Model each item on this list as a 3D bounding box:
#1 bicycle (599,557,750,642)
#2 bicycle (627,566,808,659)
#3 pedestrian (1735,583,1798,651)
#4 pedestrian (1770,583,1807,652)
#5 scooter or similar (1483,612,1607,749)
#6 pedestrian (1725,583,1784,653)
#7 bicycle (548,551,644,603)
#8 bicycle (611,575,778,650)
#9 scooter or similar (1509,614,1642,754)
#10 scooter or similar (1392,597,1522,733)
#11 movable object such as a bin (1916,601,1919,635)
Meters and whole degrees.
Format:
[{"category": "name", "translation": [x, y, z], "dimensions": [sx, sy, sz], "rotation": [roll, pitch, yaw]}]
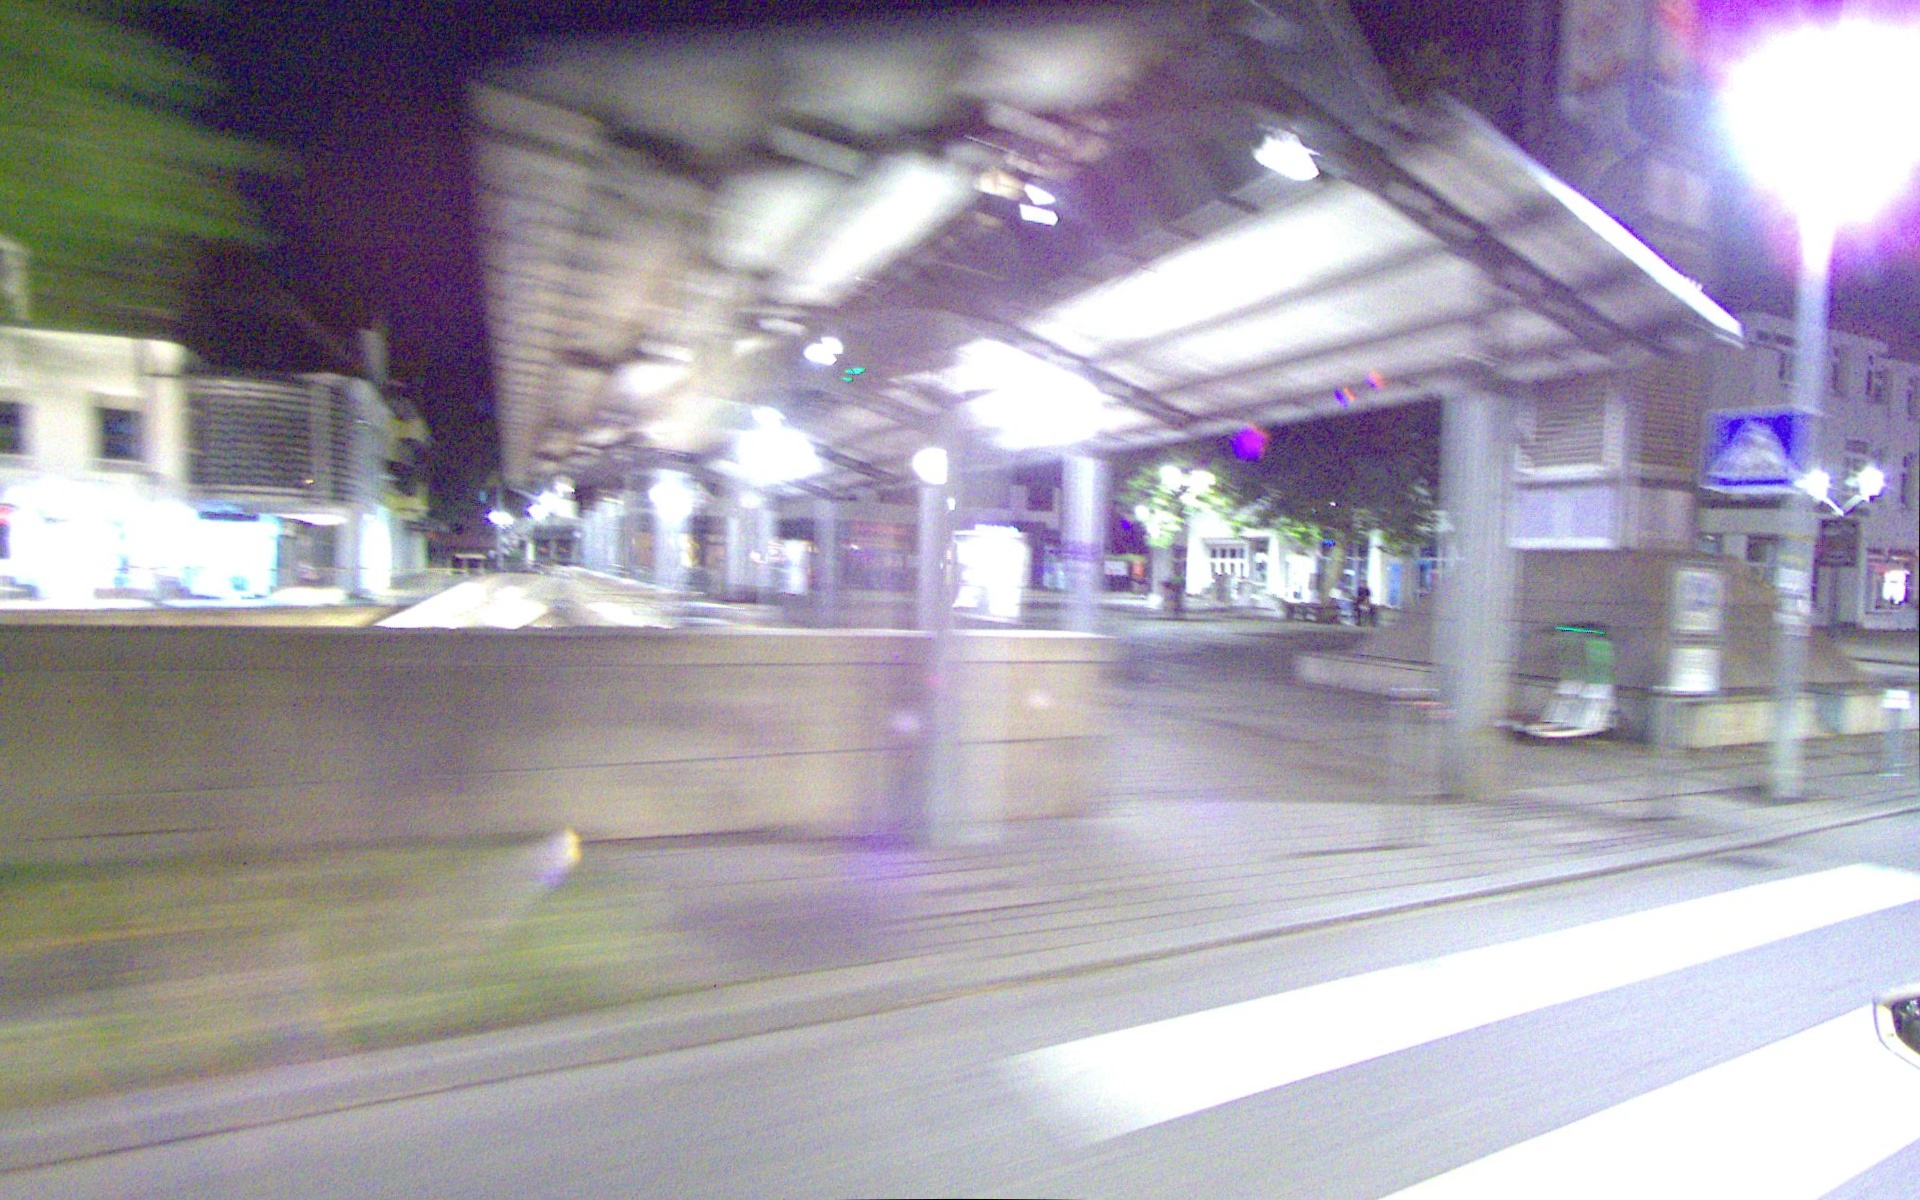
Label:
[{"category": "bicycle", "translation": [-4.957, 0.002, 17.520], "dimensions": [2.385, 1.382, 0.759], "rotation": [2, 1, -30]}, {"category": "bicycle", "translation": [-3.568, 0.202, 14.865], "dimensions": [2.437, 1.271, 0.855], "rotation": [2, 1, -30]}, {"category": "pedestrian", "translation": [22.769, 0.469, 28.360], "dimensions": [1.004, 1.842, 0.793], "rotation": [2, 3, -7]}, {"category": "pedestrian", "translation": [22.567, 0.467, 27.357], "dimensions": [0.493, 1.846, 0.502], "rotation": [2, 1, -3]}, {"category": "scooter or similar", "translation": [5.931, 0.785, 10.162], "dimensions": [1.430, 1.306, 0.316], "rotation": [0, 3, -28]}, {"category": "pedestrian", "translation": [21.978, 0.490, 27.800], "dimensions": [0.775, 1.856, 0.881], "rotation": [3, 3, -2]}, {"category": "bicycle", "translation": [-10.558, -0.661, 29.150], "dimensions": [2.481, 1.382, 0.769], "rotation": [2, 1, -30]}, {"category": "bicycle", "translation": [-4.269, 0.217, 16.224], "dimensions": [2.453, 1.101, 0.855], "rotation": [2, 1, -30]}, {"category": "scooter or similar", "translation": [6.071, 0.796, 9.896], "dimensions": [1.430, 1.281, 0.367], "rotation": [0, 3, -27]}, {"category": "scooter or similar", "translation": [5.472, 0.676, 11.066], "dimensions": [1.335, 1.398, 0.593], "rotation": [0, 2, -28]}, {"category": "movable object such as a bin", "translation": [42.831, 0.844, 43.921], "dimensions": [1.269, 1.463, 1.033], "rotation": [2, 2, -26]}]
